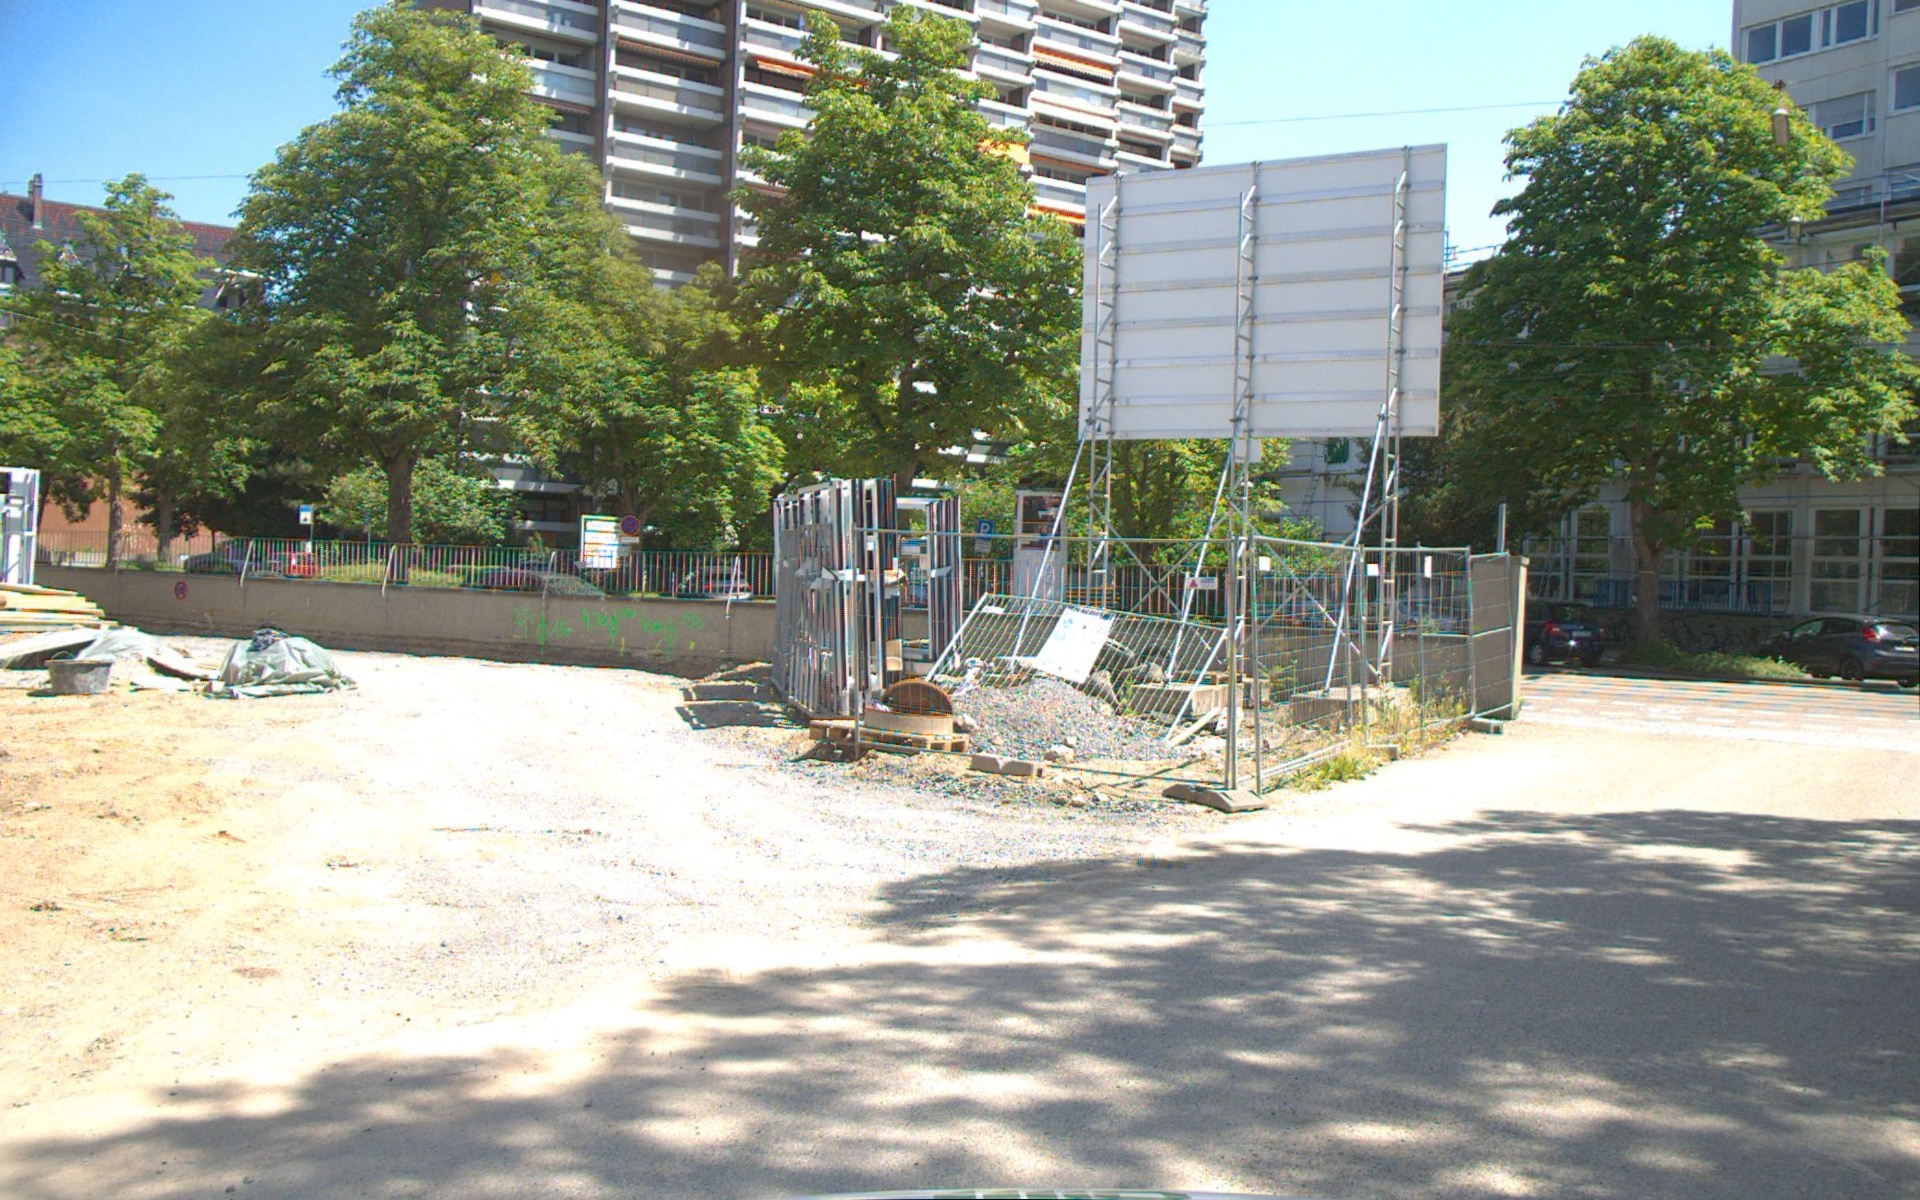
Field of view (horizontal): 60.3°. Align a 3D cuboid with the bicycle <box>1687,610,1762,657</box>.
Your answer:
[{"bbox_3d":[20.227,0.885,43.731,2.406,1.208,0.772,1,0,-38],"label":"bicycle"}]

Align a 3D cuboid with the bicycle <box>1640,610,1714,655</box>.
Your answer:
[{"bbox_3d":[19.403,0.885,44.733,2.359,1.178,0.772,1,0,-38],"label":"bicycle"}]

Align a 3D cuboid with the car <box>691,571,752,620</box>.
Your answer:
[{"bbox_3d":[-7.433,-0.151,51.388,1.604,1.411,3.666,1,0,-12],"label":"car"}]

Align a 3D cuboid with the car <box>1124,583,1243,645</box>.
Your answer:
[{"bbox_3d":[5.706,0.337,42.598,1.608,1.489,3.659,1,0,-18],"label":"car"}]

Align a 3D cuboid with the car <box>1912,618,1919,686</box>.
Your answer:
[{"bbox_3d":[22.021,1.168,34.539,1.581,1.470,3.662,1,0,-16],"label":"car"}]

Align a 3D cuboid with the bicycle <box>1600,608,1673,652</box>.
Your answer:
[{"bbox_3d":[18.668,0.840,45.633,2.359,1.178,0.772,1,0,-38],"label":"bicycle"}]

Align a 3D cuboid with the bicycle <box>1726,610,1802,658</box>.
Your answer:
[{"bbox_3d":[20.875,0.891,42.935,2.406,1.208,0.772,1,0,-38],"label":"bicycle"}]

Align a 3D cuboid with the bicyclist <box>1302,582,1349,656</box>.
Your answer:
[{"bbox_3d":[8.563,0.431,38.738,0.880,1.695,0.858,1,0,25],"label":"bicyclist"}]

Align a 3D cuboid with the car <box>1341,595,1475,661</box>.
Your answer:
[{"bbox_3d":[10.995,0.670,40.823,1.605,1.489,3.665,1,0,-14],"label":"car"}]

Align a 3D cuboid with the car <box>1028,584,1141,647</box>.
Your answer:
[{"bbox_3d":[3.115,0.362,42.038,1.608,1.489,3.659,1,0,-18],"label":"car"}]

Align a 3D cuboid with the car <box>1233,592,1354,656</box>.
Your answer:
[{"bbox_3d":[8.391,0.569,41.879,1.605,1.489,3.665,1,0,-14],"label":"car"}]

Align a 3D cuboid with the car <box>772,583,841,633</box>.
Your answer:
[{"bbox_3d":[-4.626,0.223,49.617,1.604,1.411,3.666,1,0,-12],"label":"car"}]

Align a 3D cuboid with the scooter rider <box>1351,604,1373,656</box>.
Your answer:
[{"bbox_3d":[9.103,0.684,37.480,0.408,1.154,0.359,1,0,25],"label":"scooter rider"}]

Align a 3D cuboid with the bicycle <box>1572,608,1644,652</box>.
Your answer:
[{"bbox_3d":[18.147,0.839,46.319,2.359,1.178,0.772,1,0,-38],"label":"bicycle"}]

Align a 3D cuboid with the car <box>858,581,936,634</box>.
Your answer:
[{"bbox_3d":[-1.862,0.193,47.749,1.604,1.411,3.666,1,0,-12],"label":"car"}]

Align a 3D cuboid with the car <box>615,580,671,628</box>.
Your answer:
[{"bbox_3d":[-9.959,0.106,51.767,1.604,1.411,3.666,1,0,-12],"label":"car"}]

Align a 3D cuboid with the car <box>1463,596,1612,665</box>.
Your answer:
[{"bbox_3d":[13.637,0.685,39.257,1.605,1.489,3.665,1,0,-14],"label":"car"}]

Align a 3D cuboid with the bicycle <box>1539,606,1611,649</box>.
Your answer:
[{"bbox_3d":[17.516,0.798,47.064,2.359,1.178,0.772,1,0,-38],"label":"bicycle"}]

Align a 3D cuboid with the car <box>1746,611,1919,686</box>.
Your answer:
[{"bbox_3d":[19.320,1.032,36.329,1.614,1.489,3.658,1,0,-19],"label":"car"}]

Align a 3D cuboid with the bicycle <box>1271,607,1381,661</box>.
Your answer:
[{"bbox_3d":[8.559,0.780,38.741,2.384,1.172,0.785,2,1,25],"label":"bicycle"}]
